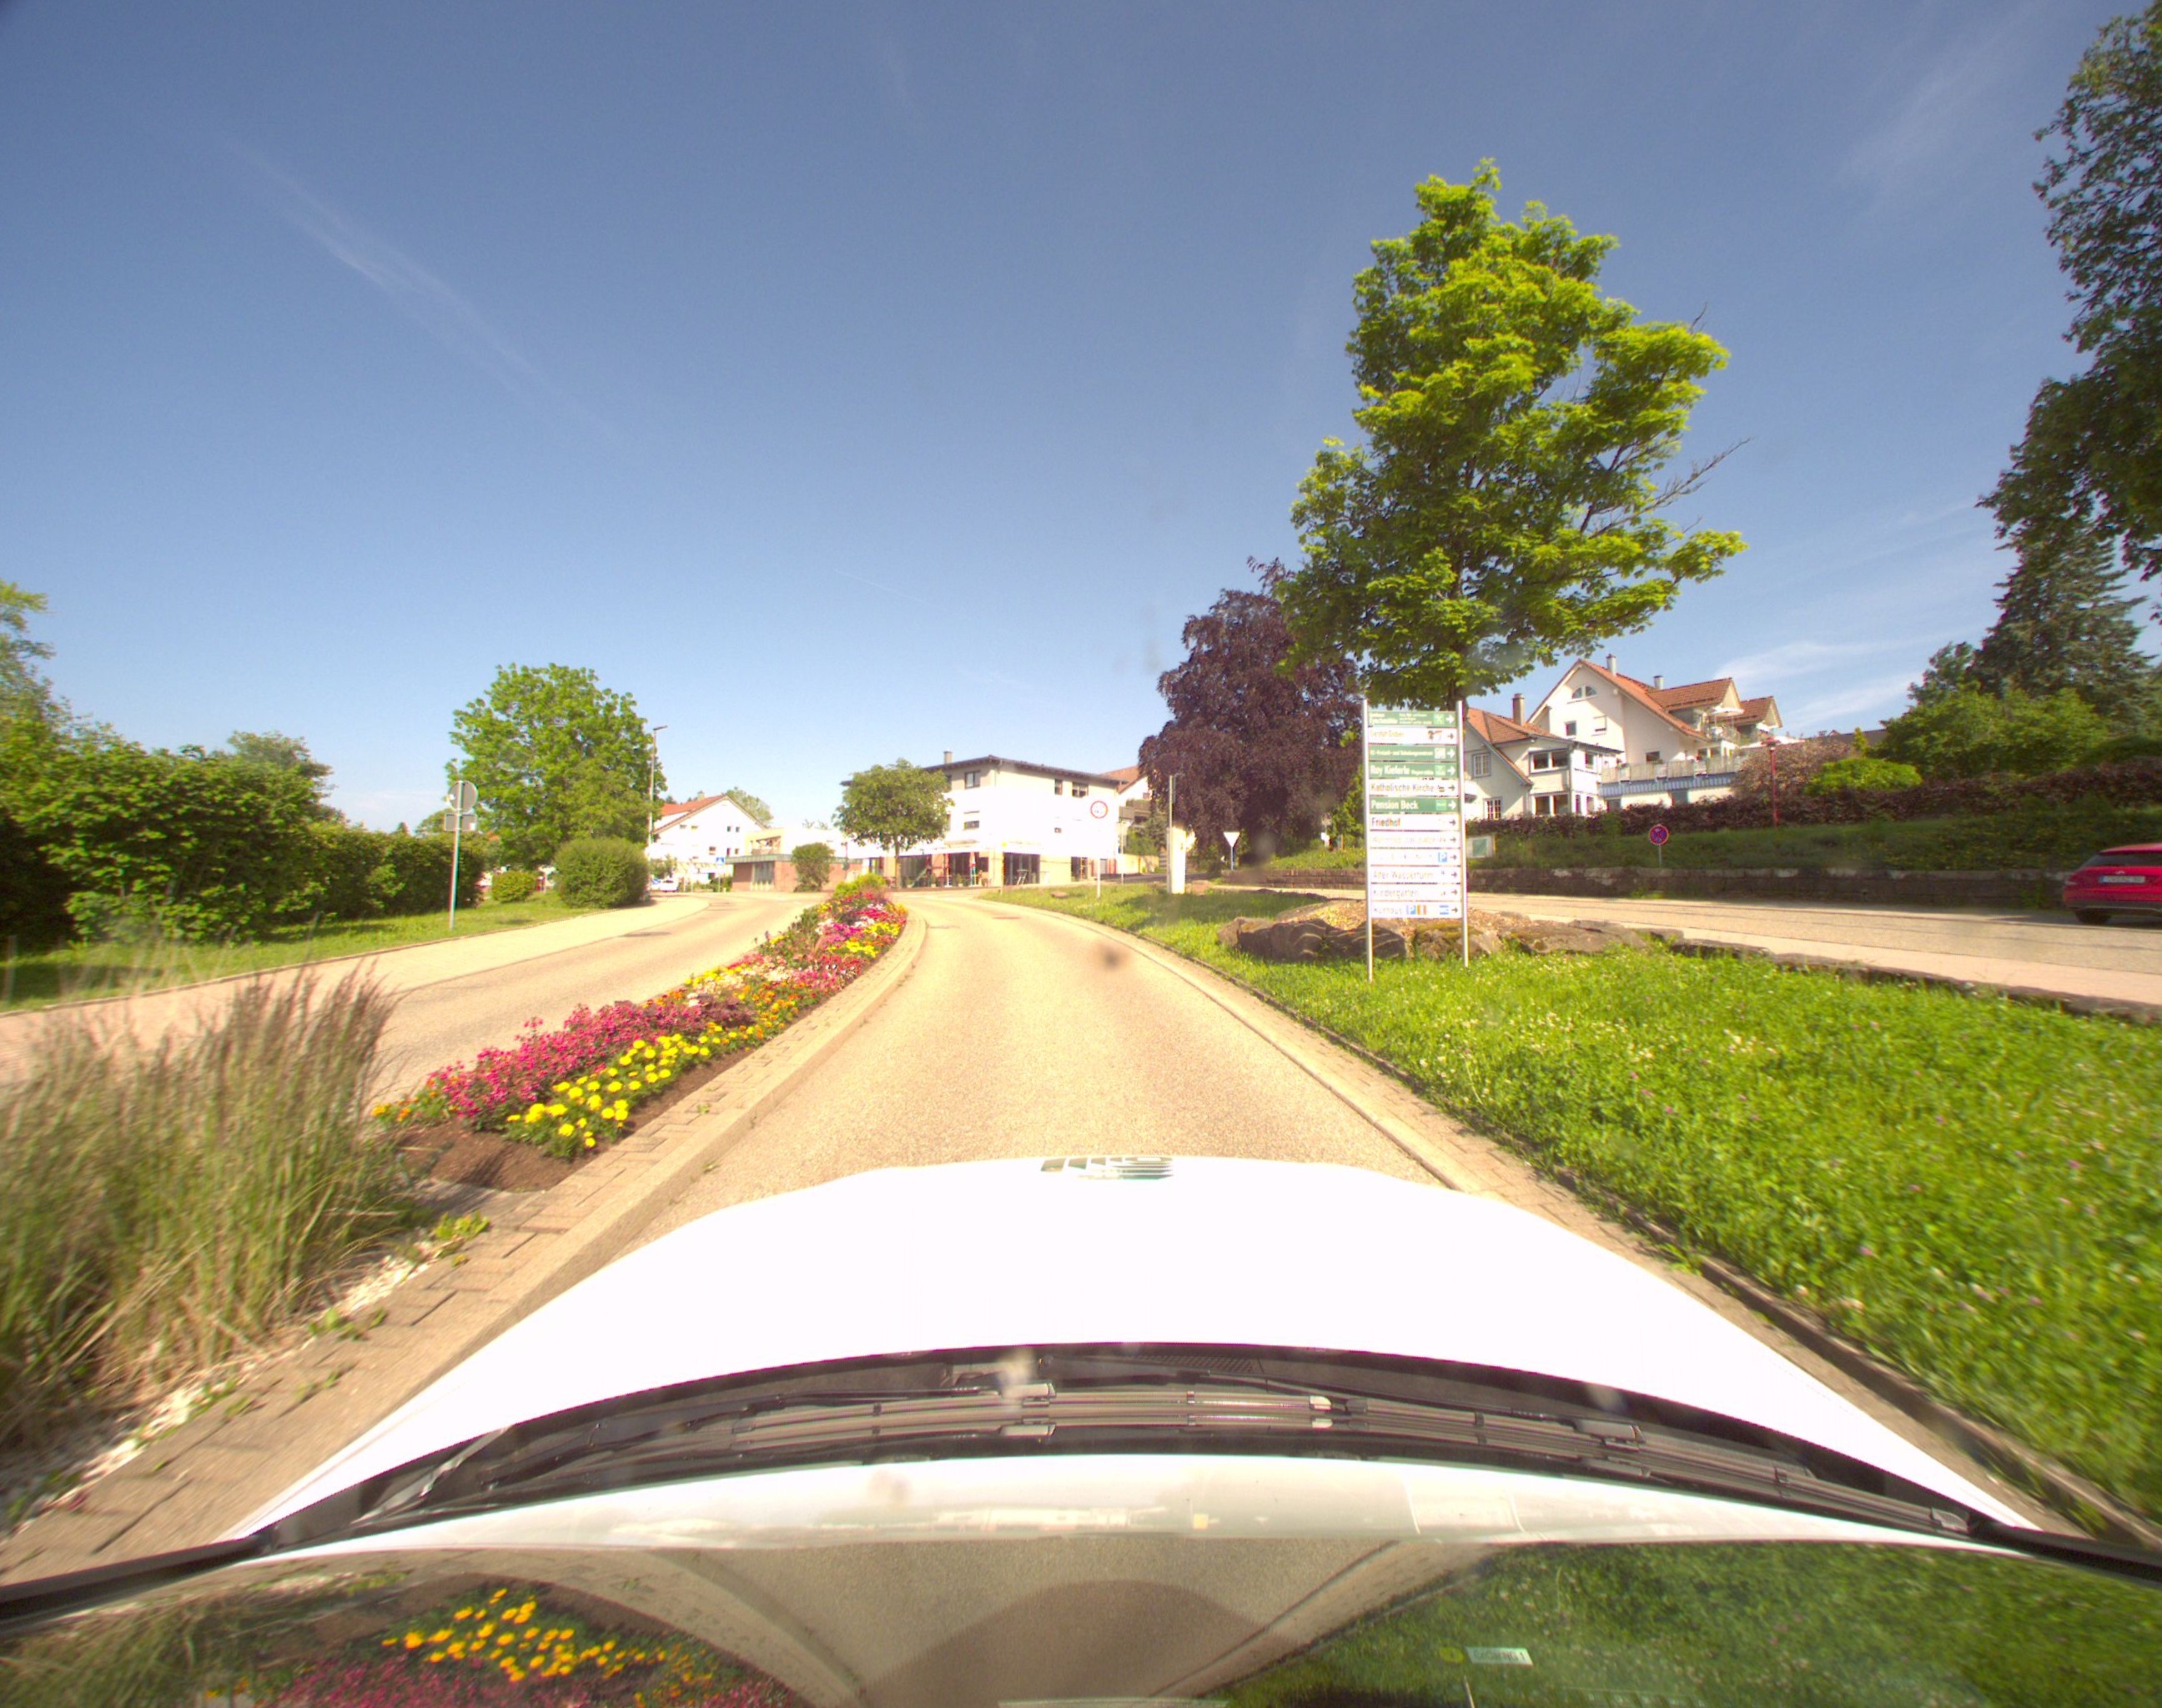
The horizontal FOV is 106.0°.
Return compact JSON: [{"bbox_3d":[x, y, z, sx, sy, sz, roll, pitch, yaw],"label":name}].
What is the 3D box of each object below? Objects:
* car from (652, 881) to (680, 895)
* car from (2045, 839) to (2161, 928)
[{"bbox_3d":[-44.726,3.706,87.753,1.776,1.423,3.588,0,-2,-44],"label":"car"},{"bbox_3d":[19.326,0.444,14.039,4.257,1.429,1.695,-1,-1,-13],"label":"car"}]
